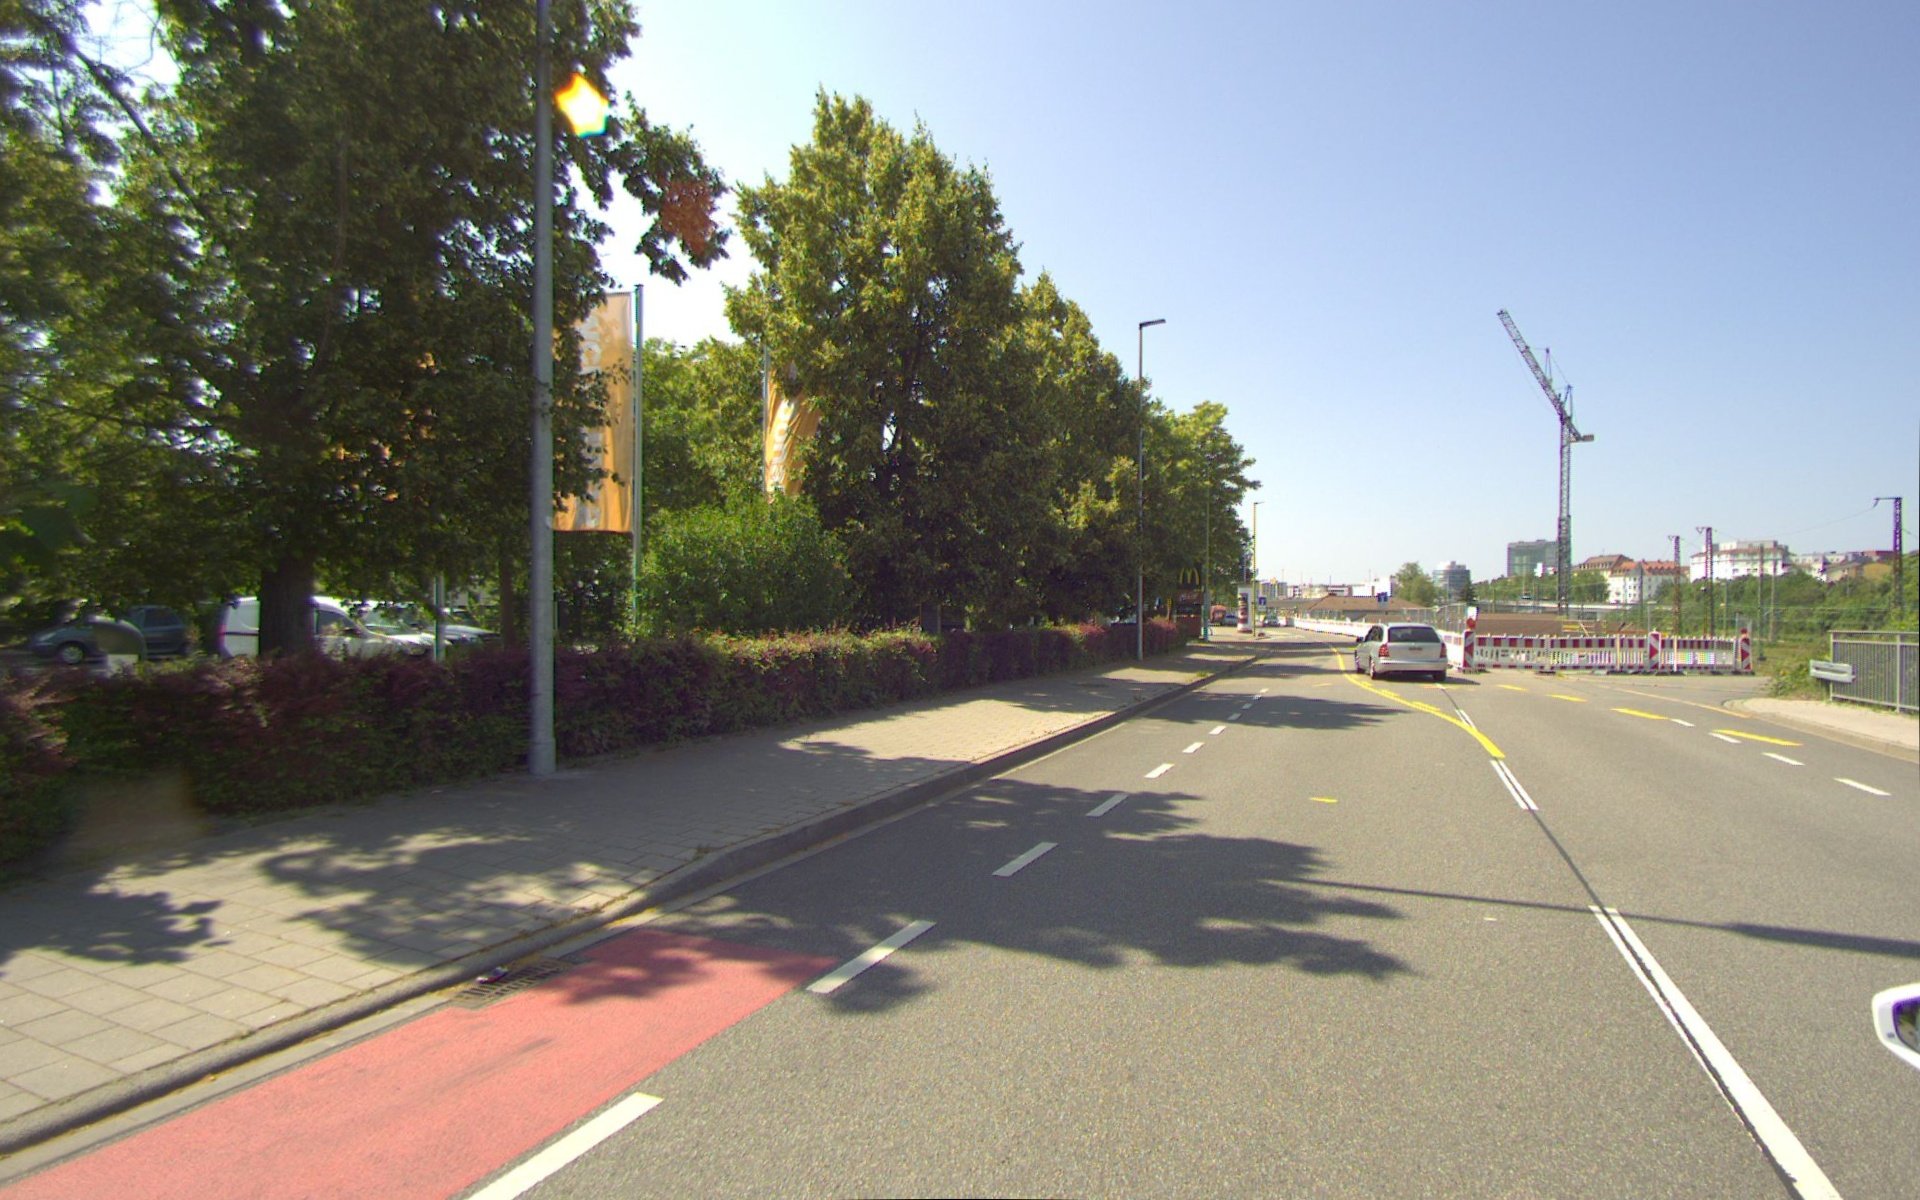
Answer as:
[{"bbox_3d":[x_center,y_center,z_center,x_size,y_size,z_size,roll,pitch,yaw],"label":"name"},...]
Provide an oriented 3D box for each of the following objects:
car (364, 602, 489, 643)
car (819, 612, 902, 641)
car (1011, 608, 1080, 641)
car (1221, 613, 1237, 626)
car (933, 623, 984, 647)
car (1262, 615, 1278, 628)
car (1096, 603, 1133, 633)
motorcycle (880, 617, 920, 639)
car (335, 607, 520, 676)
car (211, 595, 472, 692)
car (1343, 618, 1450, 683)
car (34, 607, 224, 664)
[{"bbox_3d":[-20.800,0.863,39.221,3.965,1.470,1.796,1,0,8],"label":"car"},{"bbox_3d":[-5.169,1.369,52.479,4.012,1.406,1.771,1,0,9],"label":"car"},{"bbox_3d":[5.541,1.630,65.763,1.875,1.945,4.478,-3,-2,-37],"label":"car"},{"bbox_3d":[34.127,2.437,127.336,1.838,1.518,4.032,-1,0,17],"label":"car"},{"bbox_3d":[-0.122,2.449,71.358,3.383,1.485,1.672,-3,1,-44],"label":"car"},{"bbox_3d":[37.420,2.535,121.293,1.649,1.513,4.608,-1,-1,15],"label":"car"},{"bbox_3d":[15.006,1.812,97.169,2.239,2.794,6.152,-1,-2,21],"label":"car"},{"bbox_3d":[-3.287,1.557,55.284,2.143,1.147,0.569,1,0,-7],"label":"motorcycle"},{"bbox_3d":[-13.581,1.023,25.745,3.734,1.604,1.906,1,0,5],"label":"car"},{"bbox_3d":[-12.469,0.833,20.408,4.266,1.852,1.749,0,0,3],"label":"car"},{"bbox_3d":[10.979,1.201,25.556,1.679,1.422,4.389,2,0,13],"label":"car"},{"bbox_3d":[-24.312,1.019,29.482,1.740,1.537,4.147,1,-1,44],"label":"car"}]
